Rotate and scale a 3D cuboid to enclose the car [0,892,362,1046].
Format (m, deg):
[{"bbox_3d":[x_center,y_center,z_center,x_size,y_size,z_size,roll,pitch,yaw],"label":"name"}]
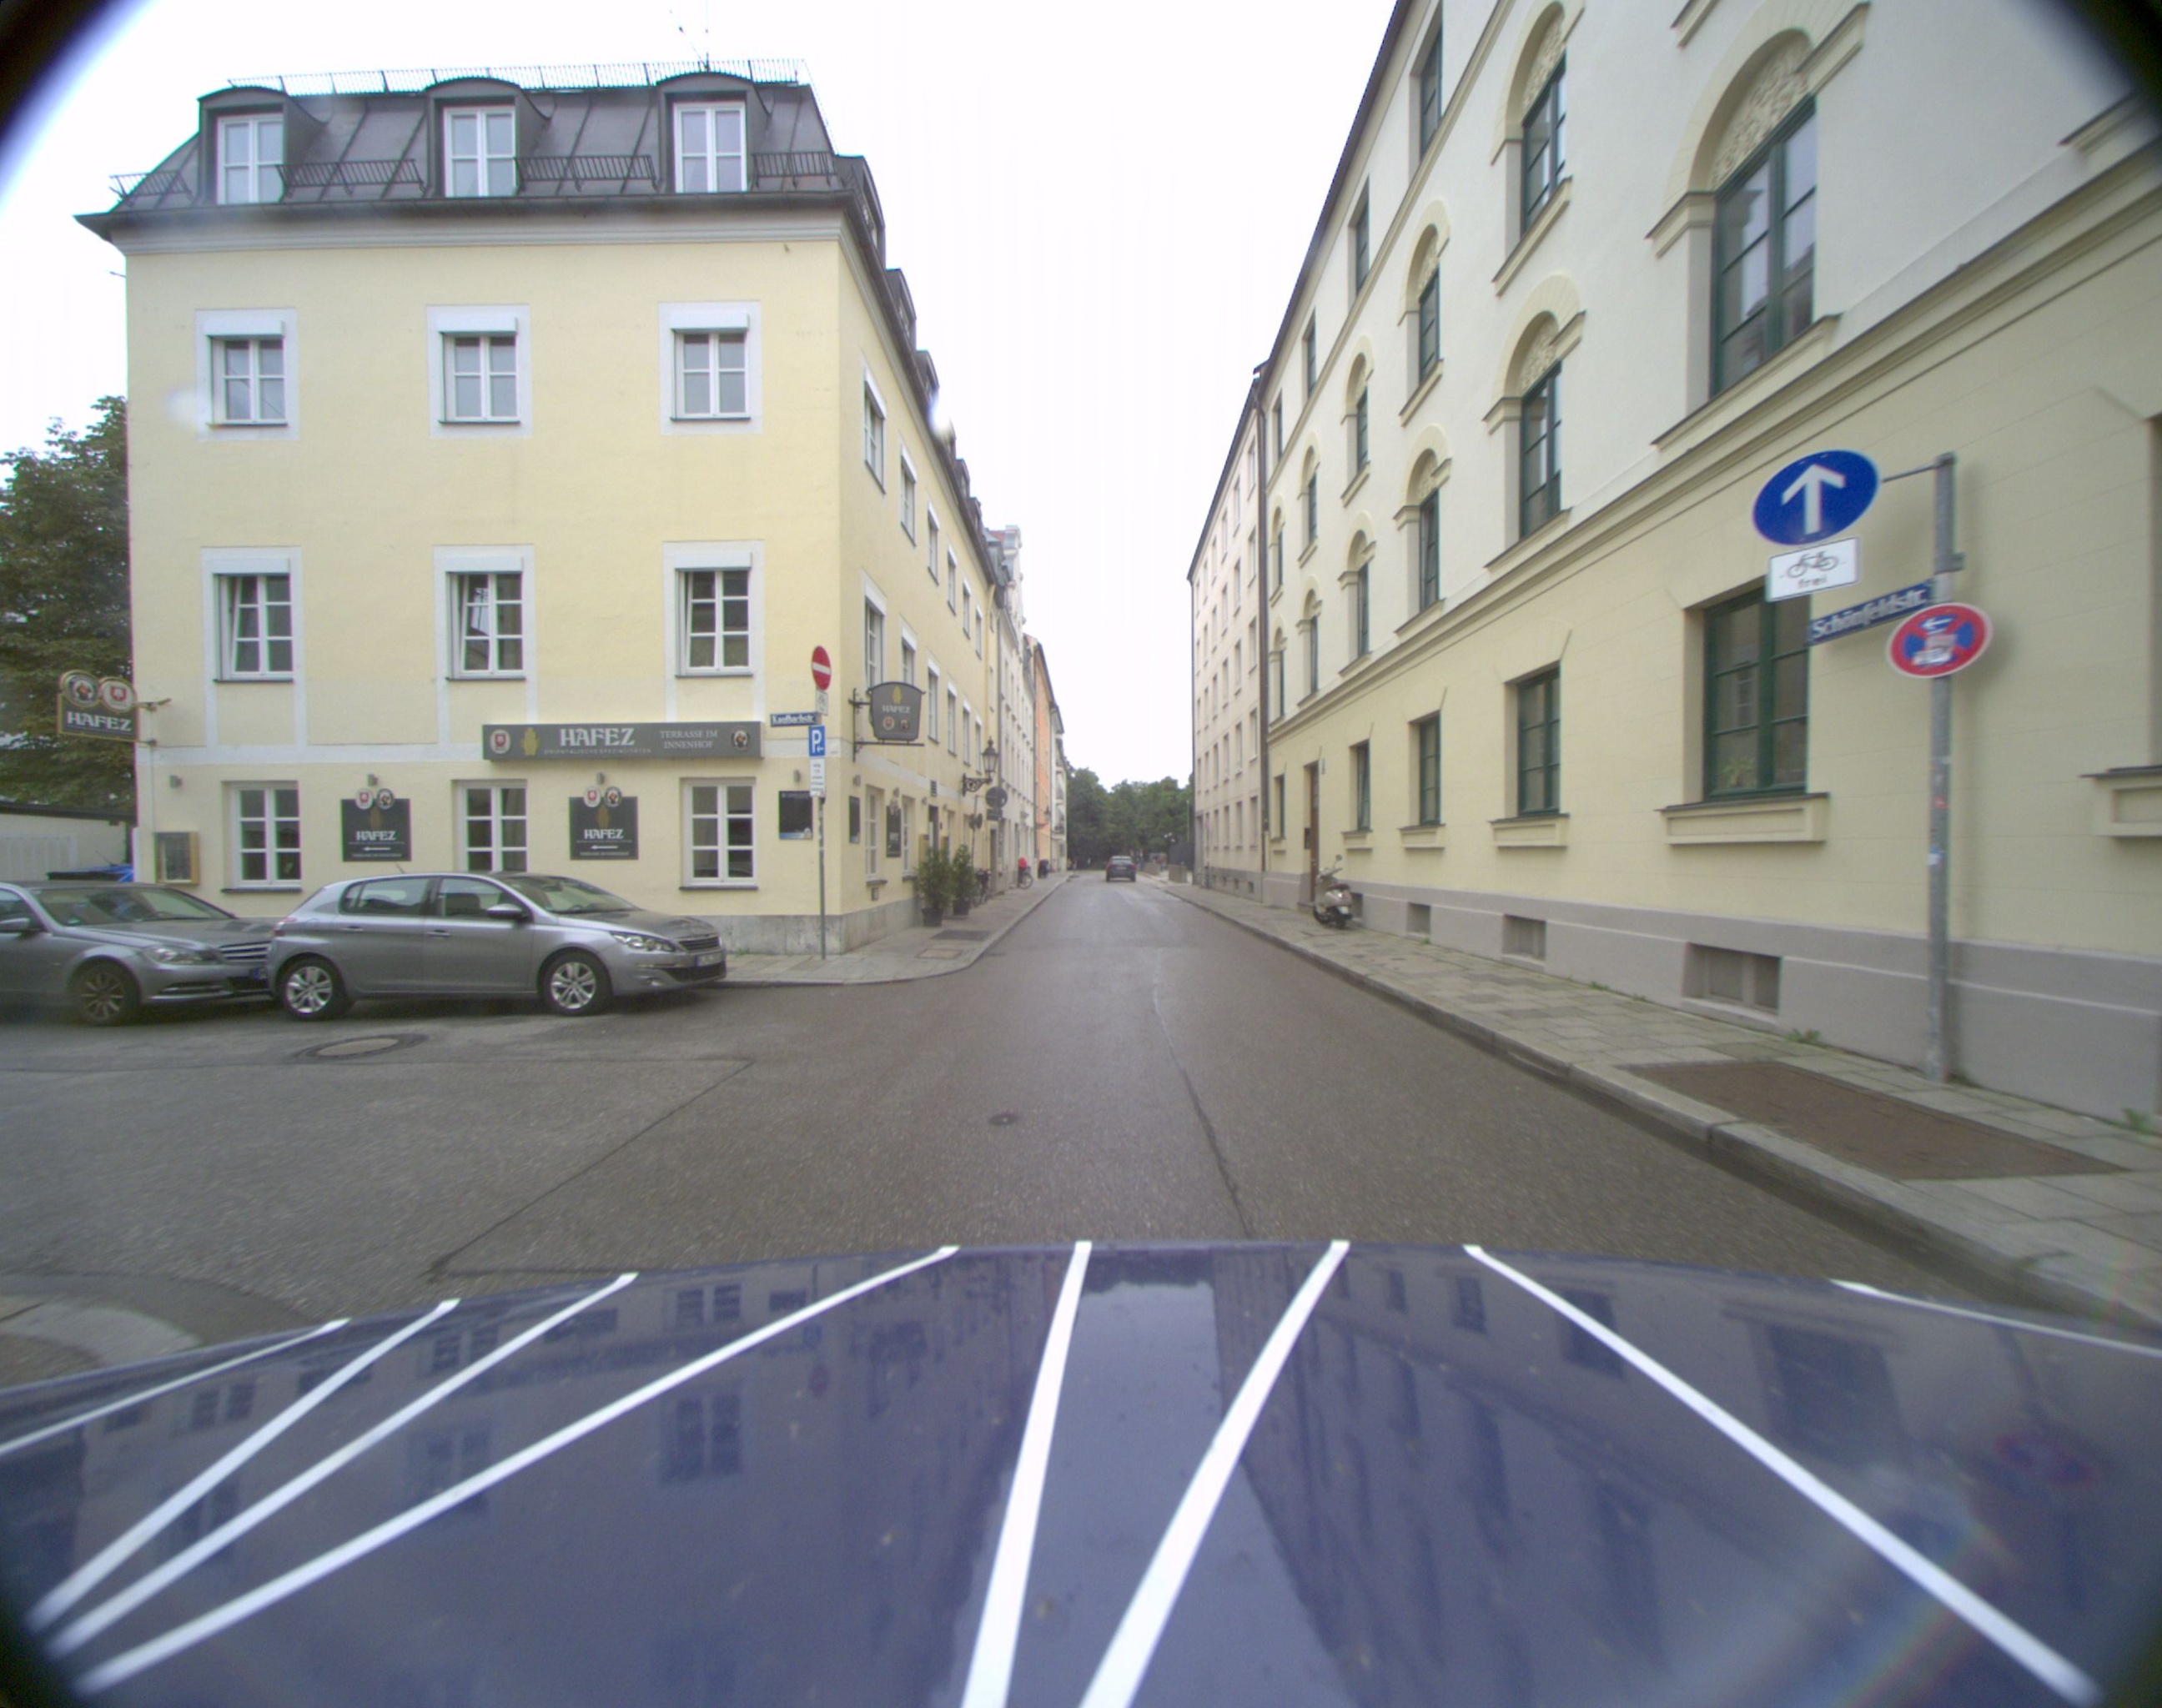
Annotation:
[{"bbox_3d":[-10.536,1.160,8.096,4.195,1.379,1.765,-1,-2,3],"label":"car"}]

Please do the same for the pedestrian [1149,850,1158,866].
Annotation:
[{"bbox_3d":[7.192,0.401,75.274,0.779,1.531,0.933,-2,0,6],"label":"pedestrian"}]

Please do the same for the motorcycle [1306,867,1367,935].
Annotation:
[{"bbox_3d":[4.830,0.851,14.457,0.603,1.167,1.708,-1,0,2],"label":"motorcycle"}]

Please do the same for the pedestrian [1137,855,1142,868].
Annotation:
[{"bbox_3d":[7.586,0.991,98.471,0.625,1.758,0.767,0,0,1],"label":"pedestrian"}]

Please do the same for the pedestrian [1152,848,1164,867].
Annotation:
[{"bbox_3d":[8.688,0.411,85.615,1.226,2.091,1.117,0,0,3],"label":"pedestrian"}]

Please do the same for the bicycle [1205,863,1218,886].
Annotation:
[{"bbox_3d":[5.648,0.877,32.910,0.320,0.938,1.574,-3,0,3],"label":"bicycle"}]

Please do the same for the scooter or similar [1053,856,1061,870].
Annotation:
[{"bbox_3d":[-2.218,0.790,69.507,0.466,1.251,1.275,2,1,-12],"label":"scooter or similar"}]

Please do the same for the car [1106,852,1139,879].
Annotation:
[{"bbox_3d":[2.511,0.689,46.668,1.816,1.584,4.000,1,0,1],"label":"car"}]

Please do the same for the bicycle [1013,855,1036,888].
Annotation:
[{"bbox_3d":[-2.523,0.768,34.016,0.715,1.388,2.122,2,0,4],"label":"bicycle"}]

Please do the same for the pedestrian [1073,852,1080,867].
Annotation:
[{"bbox_3d":[-0.545,0.657,91.848,0.753,1.725,0.853,0,0,0],"label":"pedestrian"}]

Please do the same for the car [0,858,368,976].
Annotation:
[{"bbox_3d":[-15.094,0.929,13.045,1.807,1.641,4.000,-1,0,2],"label":"car"}]

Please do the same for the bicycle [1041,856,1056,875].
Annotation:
[{"bbox_3d":[-2.182,0.761,50.958,0.681,1.233,2.383,4,0,3],"label":"bicycle"}]

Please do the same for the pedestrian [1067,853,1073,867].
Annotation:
[{"bbox_3d":[-1.359,0.685,91.688,0.753,1.671,0.656,0,0,0],"label":"pedestrian"}]

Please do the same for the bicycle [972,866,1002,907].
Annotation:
[{"bbox_3d":[-2.812,0.948,22.875,0.567,1.130,1.988,2,0,2],"label":"bicycle"}]

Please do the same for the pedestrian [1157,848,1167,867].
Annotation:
[{"bbox_3d":[7.507,0.311,70.142,0.826,1.713,0.906,-2,0,6],"label":"pedestrian"}]

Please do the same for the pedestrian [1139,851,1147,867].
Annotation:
[{"bbox_3d":[5.729,0.490,70.283,0.640,1.458,1.079,-2,0,2],"label":"pedestrian"}]

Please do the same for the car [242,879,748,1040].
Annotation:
[{"bbox_3d":[-5.919,1.023,7.998,4.024,1.432,1.765,-1,-2,3],"label":"car"}]

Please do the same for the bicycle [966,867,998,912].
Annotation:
[{"bbox_3d":[-2.691,0.950,20.712,0.567,1.130,1.684,2,0,2],"label":"bicycle"}]
